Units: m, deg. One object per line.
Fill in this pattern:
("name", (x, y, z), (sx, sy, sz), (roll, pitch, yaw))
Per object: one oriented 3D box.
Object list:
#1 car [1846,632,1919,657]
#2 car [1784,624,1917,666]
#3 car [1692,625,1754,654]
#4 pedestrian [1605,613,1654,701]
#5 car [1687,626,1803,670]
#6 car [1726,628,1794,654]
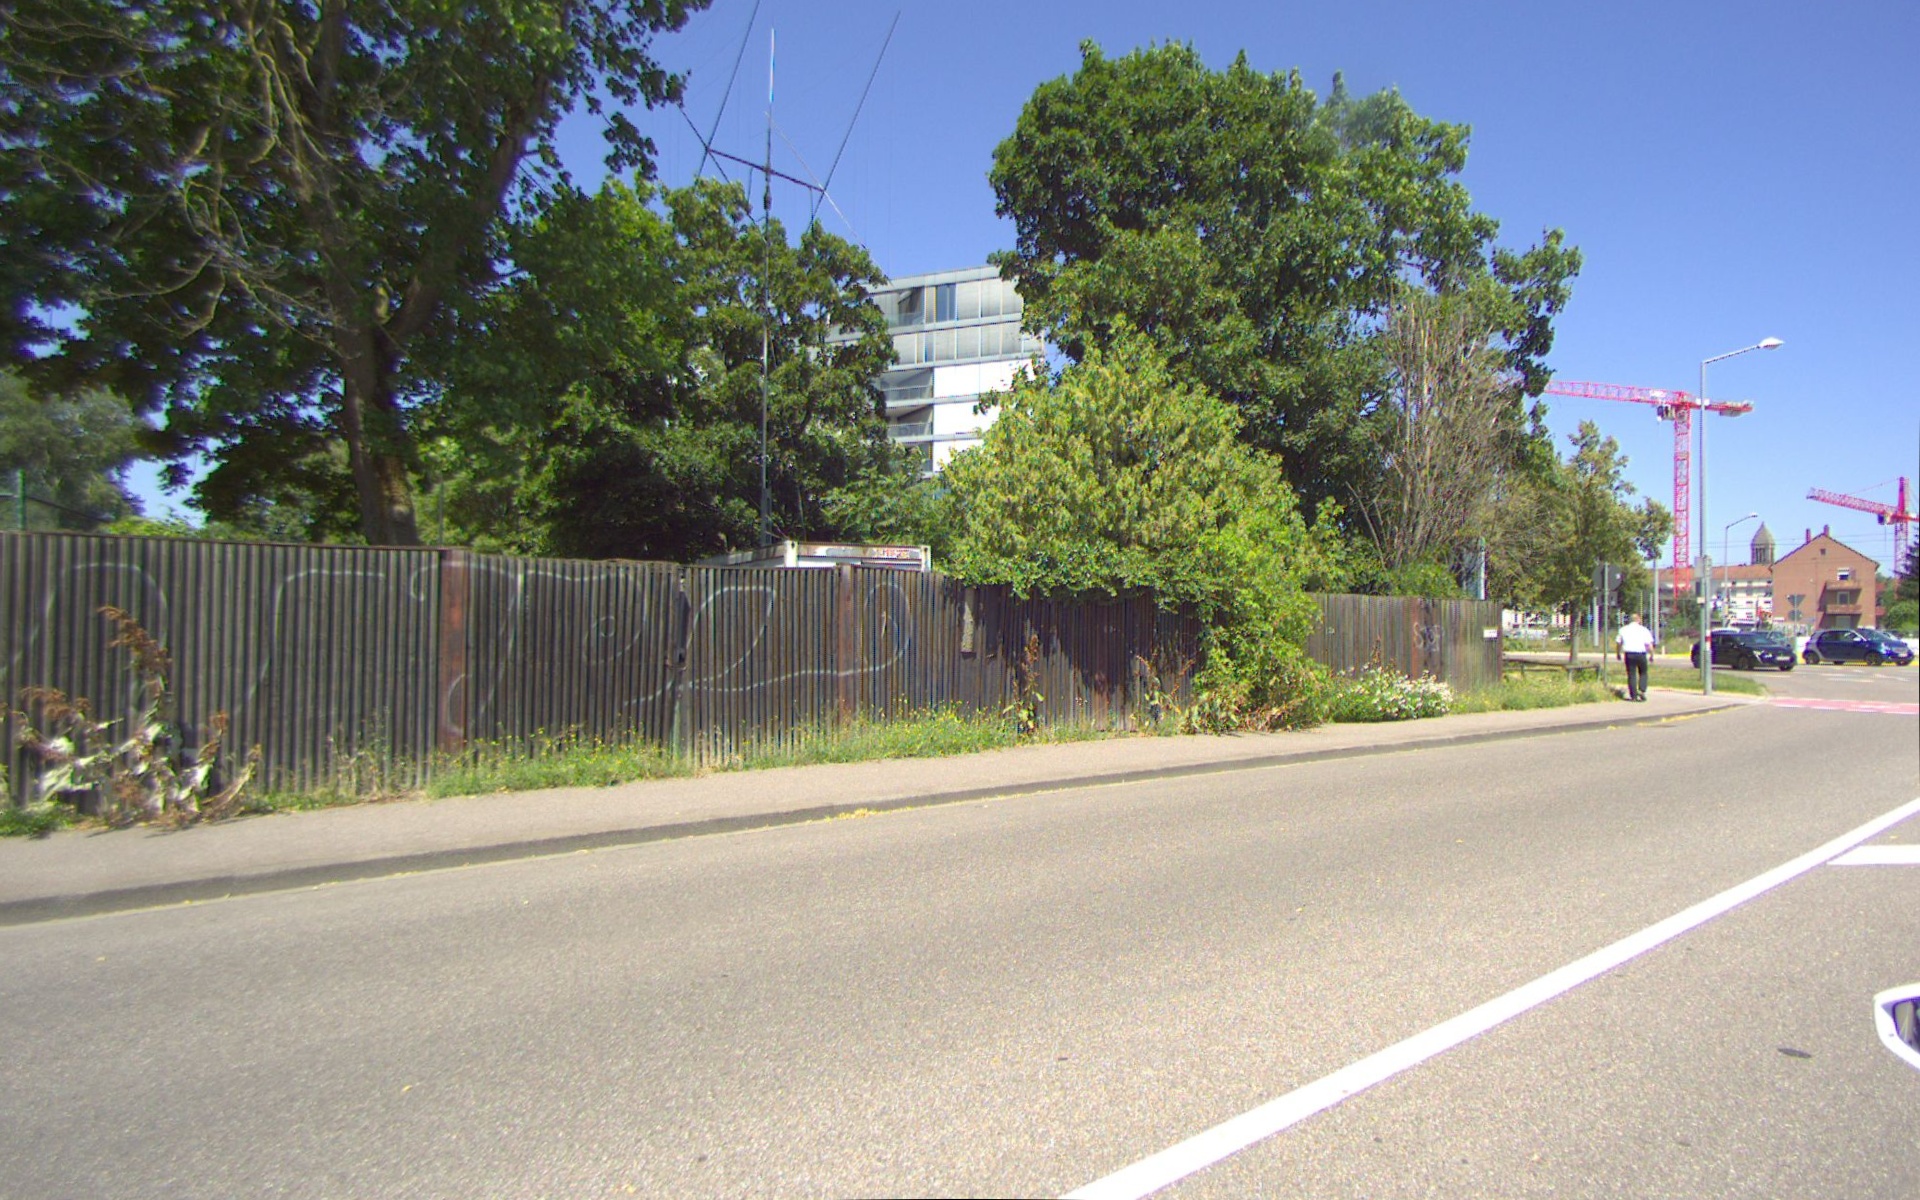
("car", (57.907, 2.757, 62.458), (4.188, 1.421, 1.732), (2, 0, -3))
("car", (37.419, 1.856, 42.351), (1.697, 1.572, 3.993), (2, 0, -10))
("car", (42.082, 2.139, 55.413), (3.837, 1.547, 1.763), (1, -2, -37))
("pedestrian", (14.301, 1.202, 21.440), (0.962, 1.810, 0.630), (2, 0, -43))
("car", (30.976, 1.857, 39.783), (1.693, 1.572, 4.002), (-2, -1, 5))
("car", (47.016, 2.409, 59.031), (4.282, 1.390, 1.737), (2, 0, -31))
